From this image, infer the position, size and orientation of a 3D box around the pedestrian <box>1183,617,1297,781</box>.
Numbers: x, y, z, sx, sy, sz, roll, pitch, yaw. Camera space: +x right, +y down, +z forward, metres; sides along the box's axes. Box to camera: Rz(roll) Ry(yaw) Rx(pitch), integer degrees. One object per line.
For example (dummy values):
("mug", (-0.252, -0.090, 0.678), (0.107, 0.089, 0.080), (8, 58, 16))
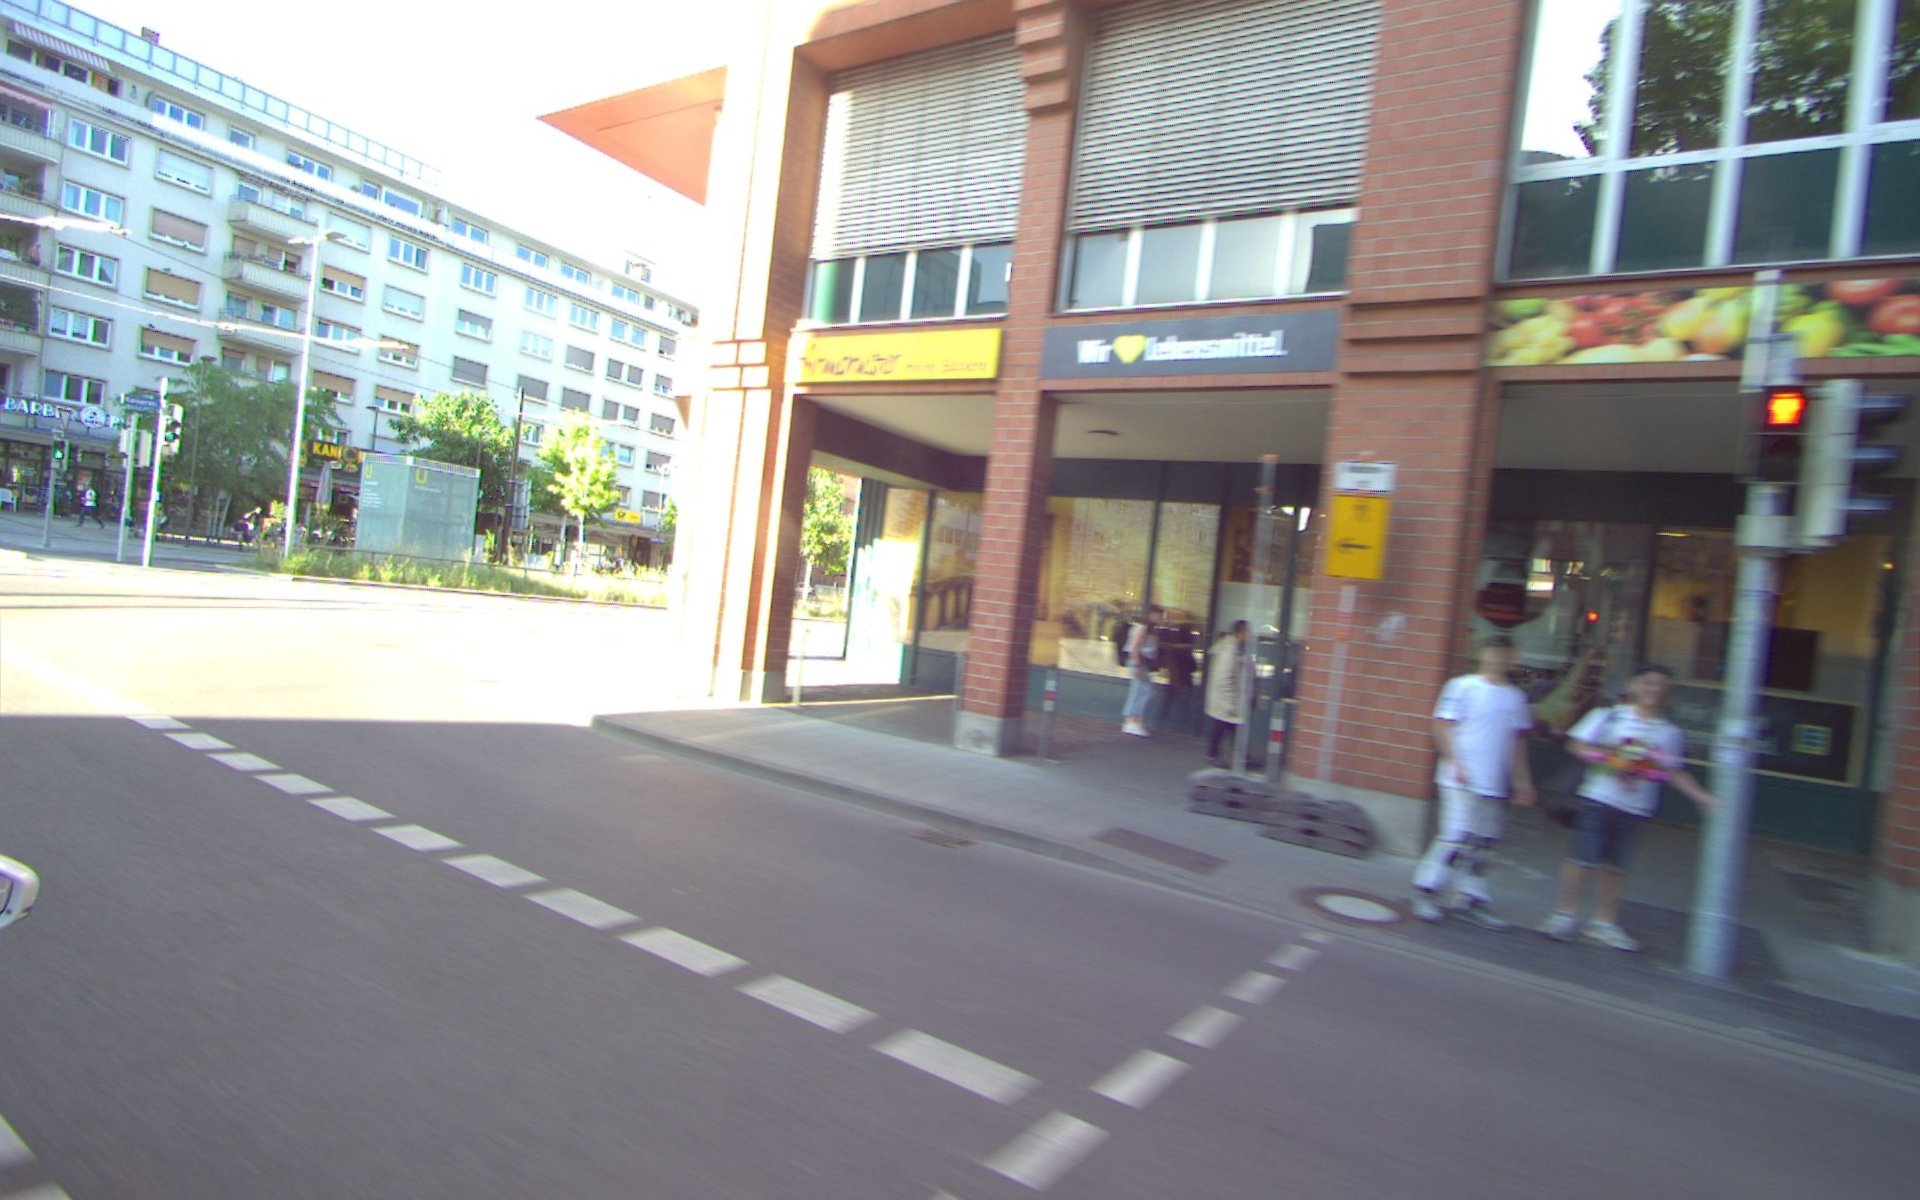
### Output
("pedestrian", (2.982, 1.034, 10.792), (0.741, 1.609, 0.845), (7, 1, -7))

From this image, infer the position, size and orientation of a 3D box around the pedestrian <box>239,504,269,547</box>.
("pedestrian", (-31.396, -3.310, 44.761), (0.704, 1.768, 0.682), (7, 1, 22))

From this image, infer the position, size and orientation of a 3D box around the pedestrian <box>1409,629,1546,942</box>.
("pedestrian", (3.253, 1.124, 6.319), (0.532, 1.815, 0.476), (7, 1, 32))

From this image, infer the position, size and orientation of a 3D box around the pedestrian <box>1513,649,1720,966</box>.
("pedestrian", (3.964, 1.221, 6.122), (0.624, 1.746, 0.629), (7, 1, -4))

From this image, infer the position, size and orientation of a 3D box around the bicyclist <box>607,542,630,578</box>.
("bicyclist", (-19.520, -2.285, 57.595), (0.884, 1.974, 0.785), (7, 1, -6))

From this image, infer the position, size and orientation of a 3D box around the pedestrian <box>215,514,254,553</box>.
("pedestrian", (-28.629, -2.626, 39.695), (1.088, 1.382, 0.720), (8, 1, 24))

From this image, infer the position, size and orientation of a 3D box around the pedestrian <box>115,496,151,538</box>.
("pedestrian", (-32.032, -3.200, 38.958), (0.711, 1.464, 0.924), (7, 1, -22))

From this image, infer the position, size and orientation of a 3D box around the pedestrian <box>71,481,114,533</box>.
("pedestrian", (-34.468, -3.700, 39.954), (0.676, 1.890, 1.042), (7, 1, 35))

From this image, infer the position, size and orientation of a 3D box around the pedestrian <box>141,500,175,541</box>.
("pedestrian", (-31.059, -3.064, 38.961), (0.712, 1.438, 0.923), (7, 1, -25))

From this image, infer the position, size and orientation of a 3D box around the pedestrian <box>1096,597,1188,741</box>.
("pedestrian", (2.293, 0.862, 12.665), (0.784, 1.683, 0.600), (7, 1, 32))

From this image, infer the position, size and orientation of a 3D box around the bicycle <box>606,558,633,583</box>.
("bicycle", (-19.547, -1.685, 57.735), (0.884, 1.268, 2.211), (7, 0, -6))

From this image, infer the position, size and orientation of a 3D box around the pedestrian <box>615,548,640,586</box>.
("pedestrian", (-15.780, -1.568, 47.711), (0.624, 1.692, 0.753), (7, 1, 27))
